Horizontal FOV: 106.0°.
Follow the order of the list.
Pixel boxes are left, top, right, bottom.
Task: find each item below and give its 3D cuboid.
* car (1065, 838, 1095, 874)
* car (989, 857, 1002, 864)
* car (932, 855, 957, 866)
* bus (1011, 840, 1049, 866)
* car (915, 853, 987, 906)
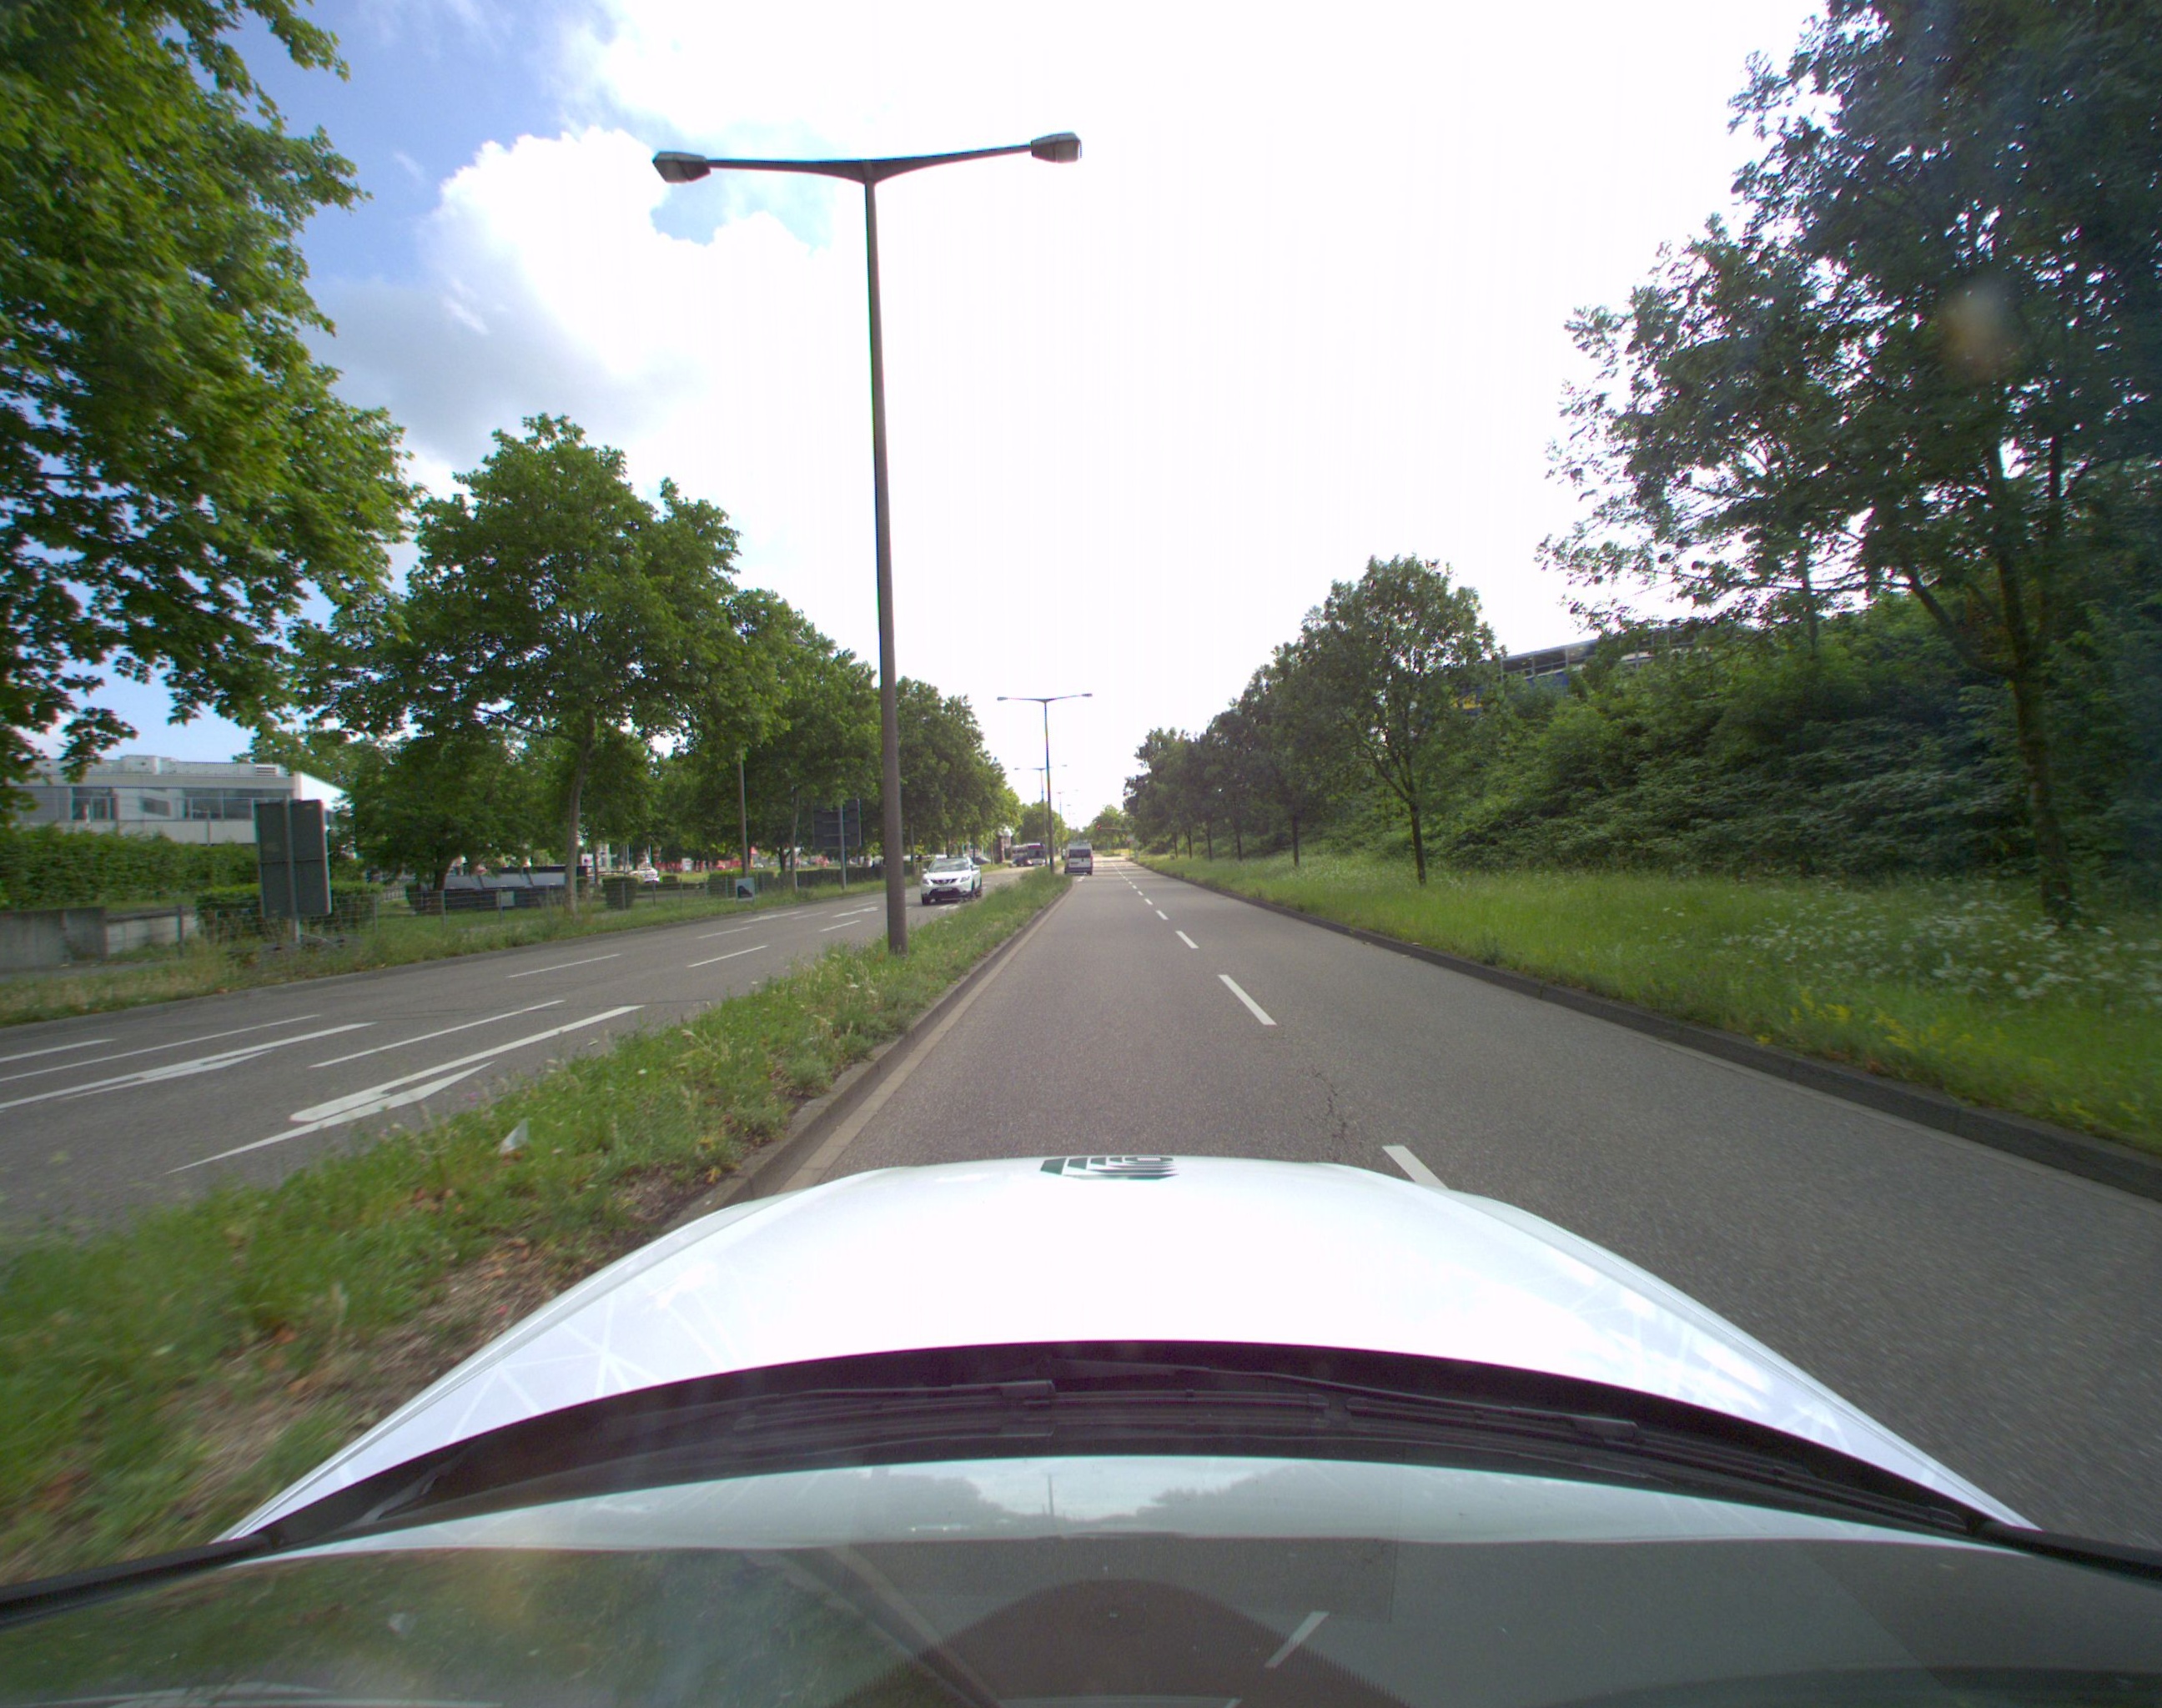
[{"bbox_3d":[-0.129,0.123,64.770,2.192,2.726,4.927,-1,0,-2],"label":"car"},{"bbox_3d":[-13.729,1.022,130.530,1.553,1.041,3.415,-3,0,1],"label":"car"},{"bbox_3d":[-23.745,1.136,141.859,4.019,1.838,1.843,1,-4,-38],"label":"car"},{"bbox_3d":[-7.383,-0.073,116.112,3.114,3.274,12.277,-3,0,-14],"label":"bus"},{"bbox_3d":[-4.612,0.860,29.464,1.808,1.640,4.350,-4,0,-1],"label":"car"}]
